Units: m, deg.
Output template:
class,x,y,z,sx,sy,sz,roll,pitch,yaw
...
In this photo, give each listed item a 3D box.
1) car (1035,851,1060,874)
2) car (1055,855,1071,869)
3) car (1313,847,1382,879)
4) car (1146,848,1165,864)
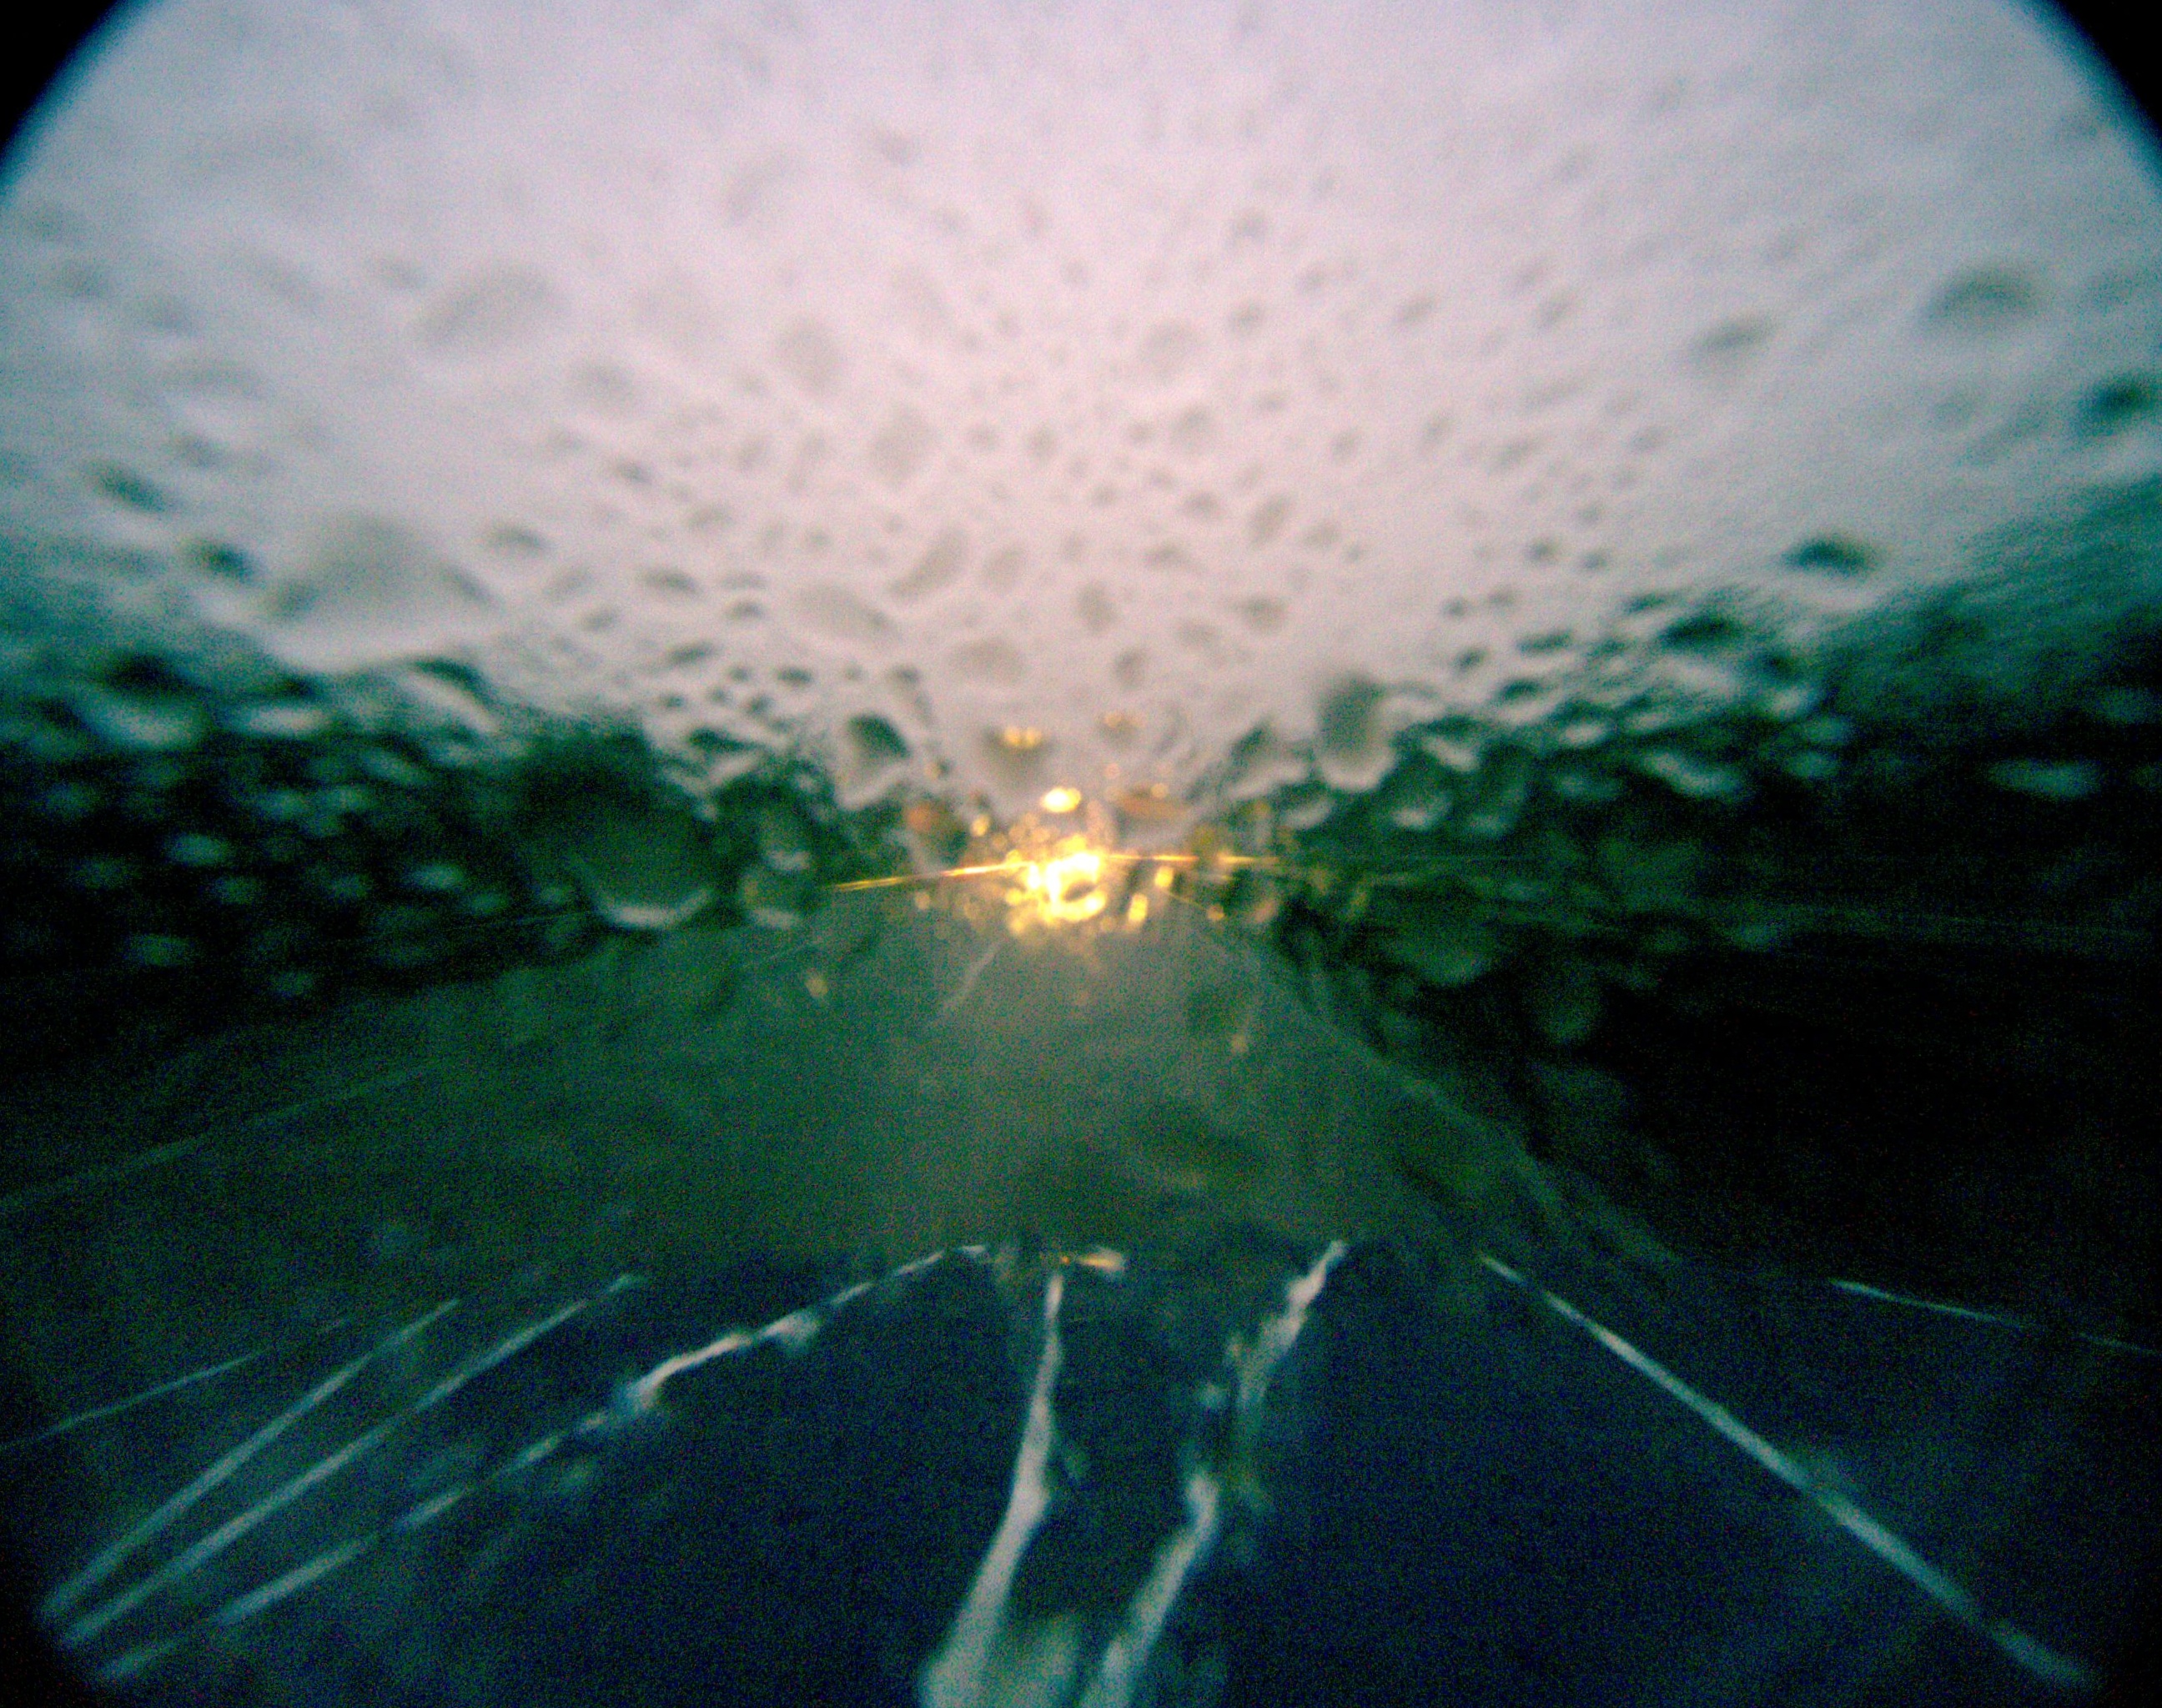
class,x,y,z,sx,sy,sz,roll,pitch,yaw
car,-2.660,0.644,60.657,1.748,1.643,4.000,-2,1,1
car,-2.375,1.008,101.538,1.998,1.674,4.000,-4,0,1
car,12.724,0.382,36.511,1.772,1.351,4.250,-2,1,0
car,9.001,0.189,91.603,1.841,1.805,4.000,-4,0,0
